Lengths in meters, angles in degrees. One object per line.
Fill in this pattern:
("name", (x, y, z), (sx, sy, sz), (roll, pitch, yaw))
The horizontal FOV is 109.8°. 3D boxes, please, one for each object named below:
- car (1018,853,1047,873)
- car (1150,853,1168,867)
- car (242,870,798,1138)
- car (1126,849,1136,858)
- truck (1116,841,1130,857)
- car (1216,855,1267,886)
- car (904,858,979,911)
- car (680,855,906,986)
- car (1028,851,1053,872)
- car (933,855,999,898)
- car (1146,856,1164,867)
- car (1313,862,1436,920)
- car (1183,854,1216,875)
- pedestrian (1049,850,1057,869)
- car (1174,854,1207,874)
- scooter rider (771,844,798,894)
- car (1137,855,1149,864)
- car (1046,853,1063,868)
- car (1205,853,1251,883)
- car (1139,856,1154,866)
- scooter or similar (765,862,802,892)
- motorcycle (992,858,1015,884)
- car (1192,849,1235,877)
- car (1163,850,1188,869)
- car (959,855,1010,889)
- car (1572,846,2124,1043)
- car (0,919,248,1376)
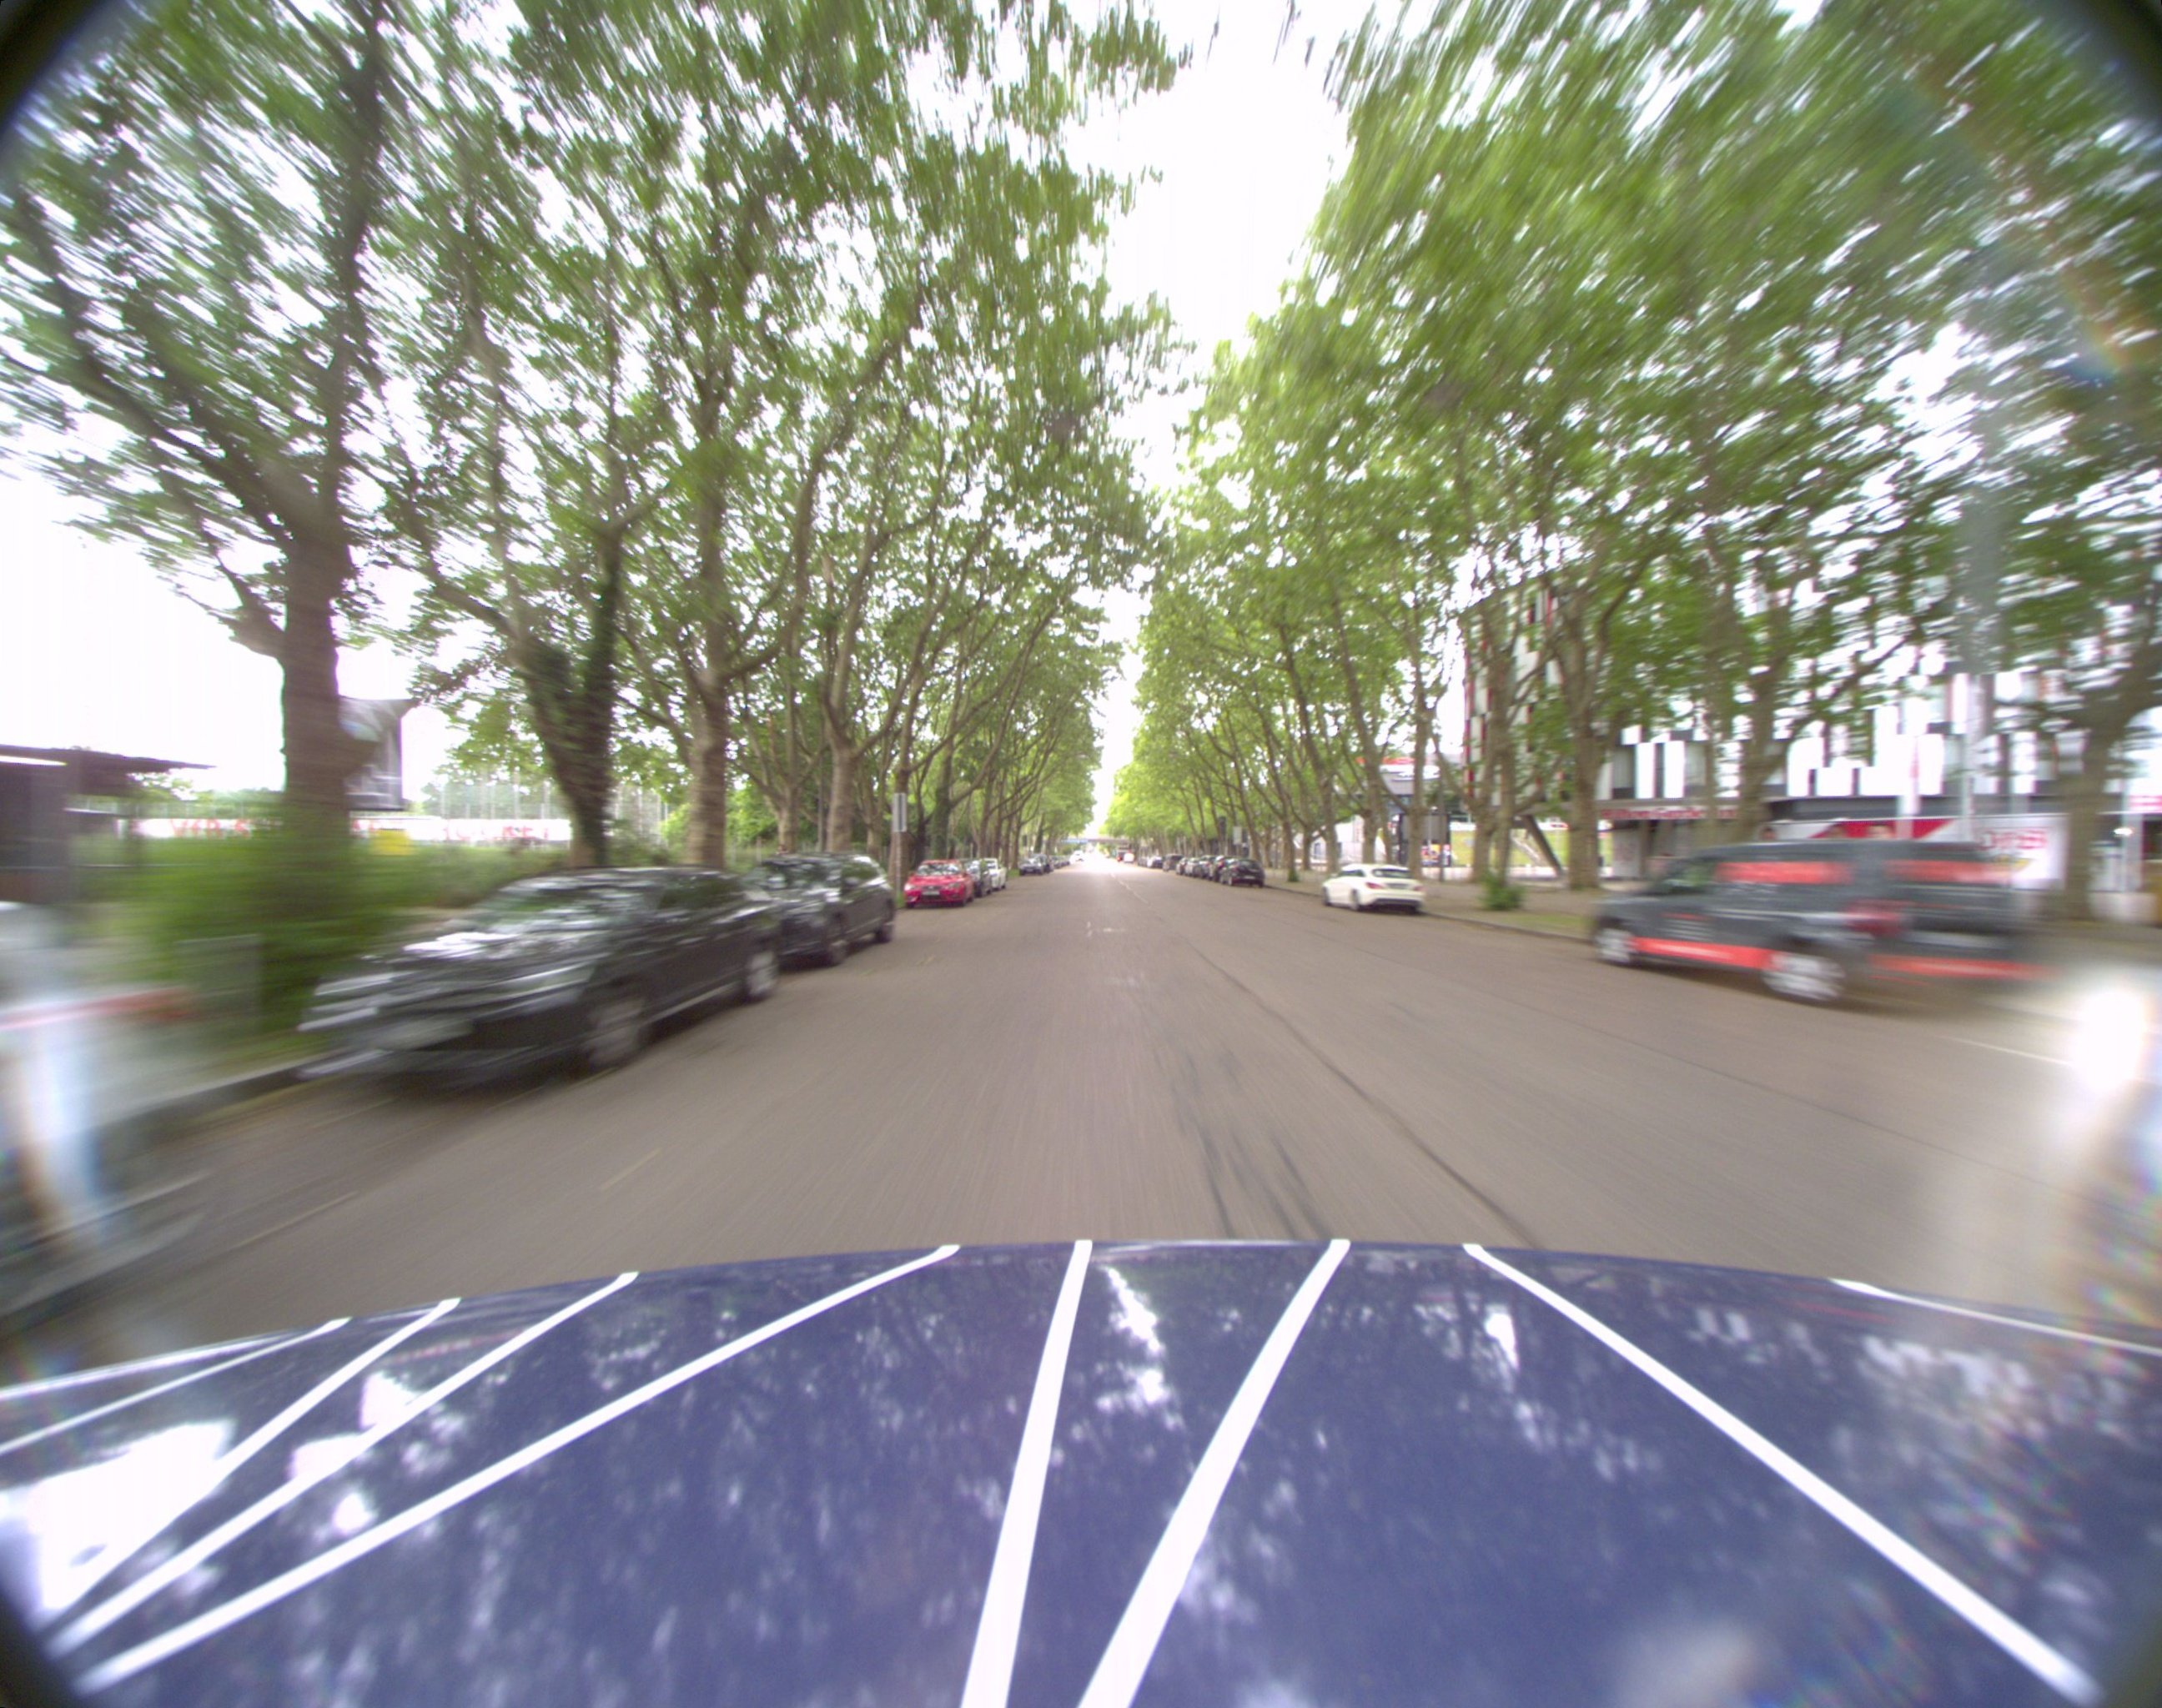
("car", (-3.867, 0.705, 61.637), (1.998, 1.469, 4.371), (-1, 0, 1))
("car", (9.309, 0.702, 91.113), (1.822, 1.584, 4.345), (3, 0, 3))
("car", (-4.257, 0.972, 6.848), (1.672, 1.500, 4.353), (-2, 0, 1))
("car", (10.582, -0.061, 161.263), (2.064, 1.950, 5.466), (1, 0, 2))
("truck", (10.292, -1.269, 186.860), (2.917, 3.846, 9.466), (1, 1, 1))
("car", (8.617, 0.837, 41.062), (1.838, 1.486, 4.442), (3, 0, 1))
("car", (-4.360, 0.902, 24.368), (1.721, 1.430, 4.627), (-2, 0, -3))
("car", (-4.230, 0.865, 12.023), (1.760, 1.610, 4.439), (-2, 0, 1))
("car", (-3.722, 0.664, 68.661), (1.848, 1.772, 4.444), (-2, 0, -8))
("car", (-4.379, 0.817, 29.477), (1.734, 1.461, 4.080), (-3, 0, 2))
("car", (9.410, 0.935, 96.768), (1.820, 1.354, 5.005), (2, 0, 0))
("car", (8.708, 1.026, 23.047), (1.908, 1.394, 4.751), (3, 0, 1))
("car", (8.891, 0.736, 57.223), (1.838, 1.447, 4.230), (3, 0, 1))
("pedestrian", (-2.369, 0.443, 63.592), (0.635, 1.617, 0.742), (0, 1, 1))
("car", (9.021, 0.820, 62.991), (2.088, 1.521, 5.146), (1, 0, 2))
("scooter rider", (-10.837, 0.537, 27.761), (0.678, 1.789, 0.587), (2, 1, 1))
("car", (10.066, 0.929, 123.750), (1.698, 1.354, 4.001), (4, 0, 3))
("car", (-3.128, 0.767, 89.664), (1.834, 1.593, 4.467), (-2, 0, 0))
("car", (8.896, 0.826, 46.439), (1.942, 1.633, 4.928), (3, 0, 2))
("car", (9.827, 0.993, 114.246), (1.712, 1.374, 4.331), (4, 0, 0))
("scooter or similar", (-10.853, 0.823, 27.756), (0.682, 1.032, 1.467), (3, 0, 1))
("motorcycle", (-4.014, 0.878, 39.587), (0.713, 1.324, 1.993), (0, 0, 9))
("car", (9.005, 0.589, 51.902), (1.874, 1.708, 4.647), (3, 0, -2))
("car", (9.412, 0.501, 76.198), (1.900, 1.785, 4.612), (3, 0, 0))
("car", (-4.296, 0.776, 34.368), (1.739, 1.430, 4.123), (0, 0, 1))
("car", (8.433, 0.810, 9.196), (1.954, 1.740, 4.638), (2, 0, 0))
("car", (-4.398, 1.023, 1.353), (1.620, 1.433, 3.710), (-2, 0, 2))
